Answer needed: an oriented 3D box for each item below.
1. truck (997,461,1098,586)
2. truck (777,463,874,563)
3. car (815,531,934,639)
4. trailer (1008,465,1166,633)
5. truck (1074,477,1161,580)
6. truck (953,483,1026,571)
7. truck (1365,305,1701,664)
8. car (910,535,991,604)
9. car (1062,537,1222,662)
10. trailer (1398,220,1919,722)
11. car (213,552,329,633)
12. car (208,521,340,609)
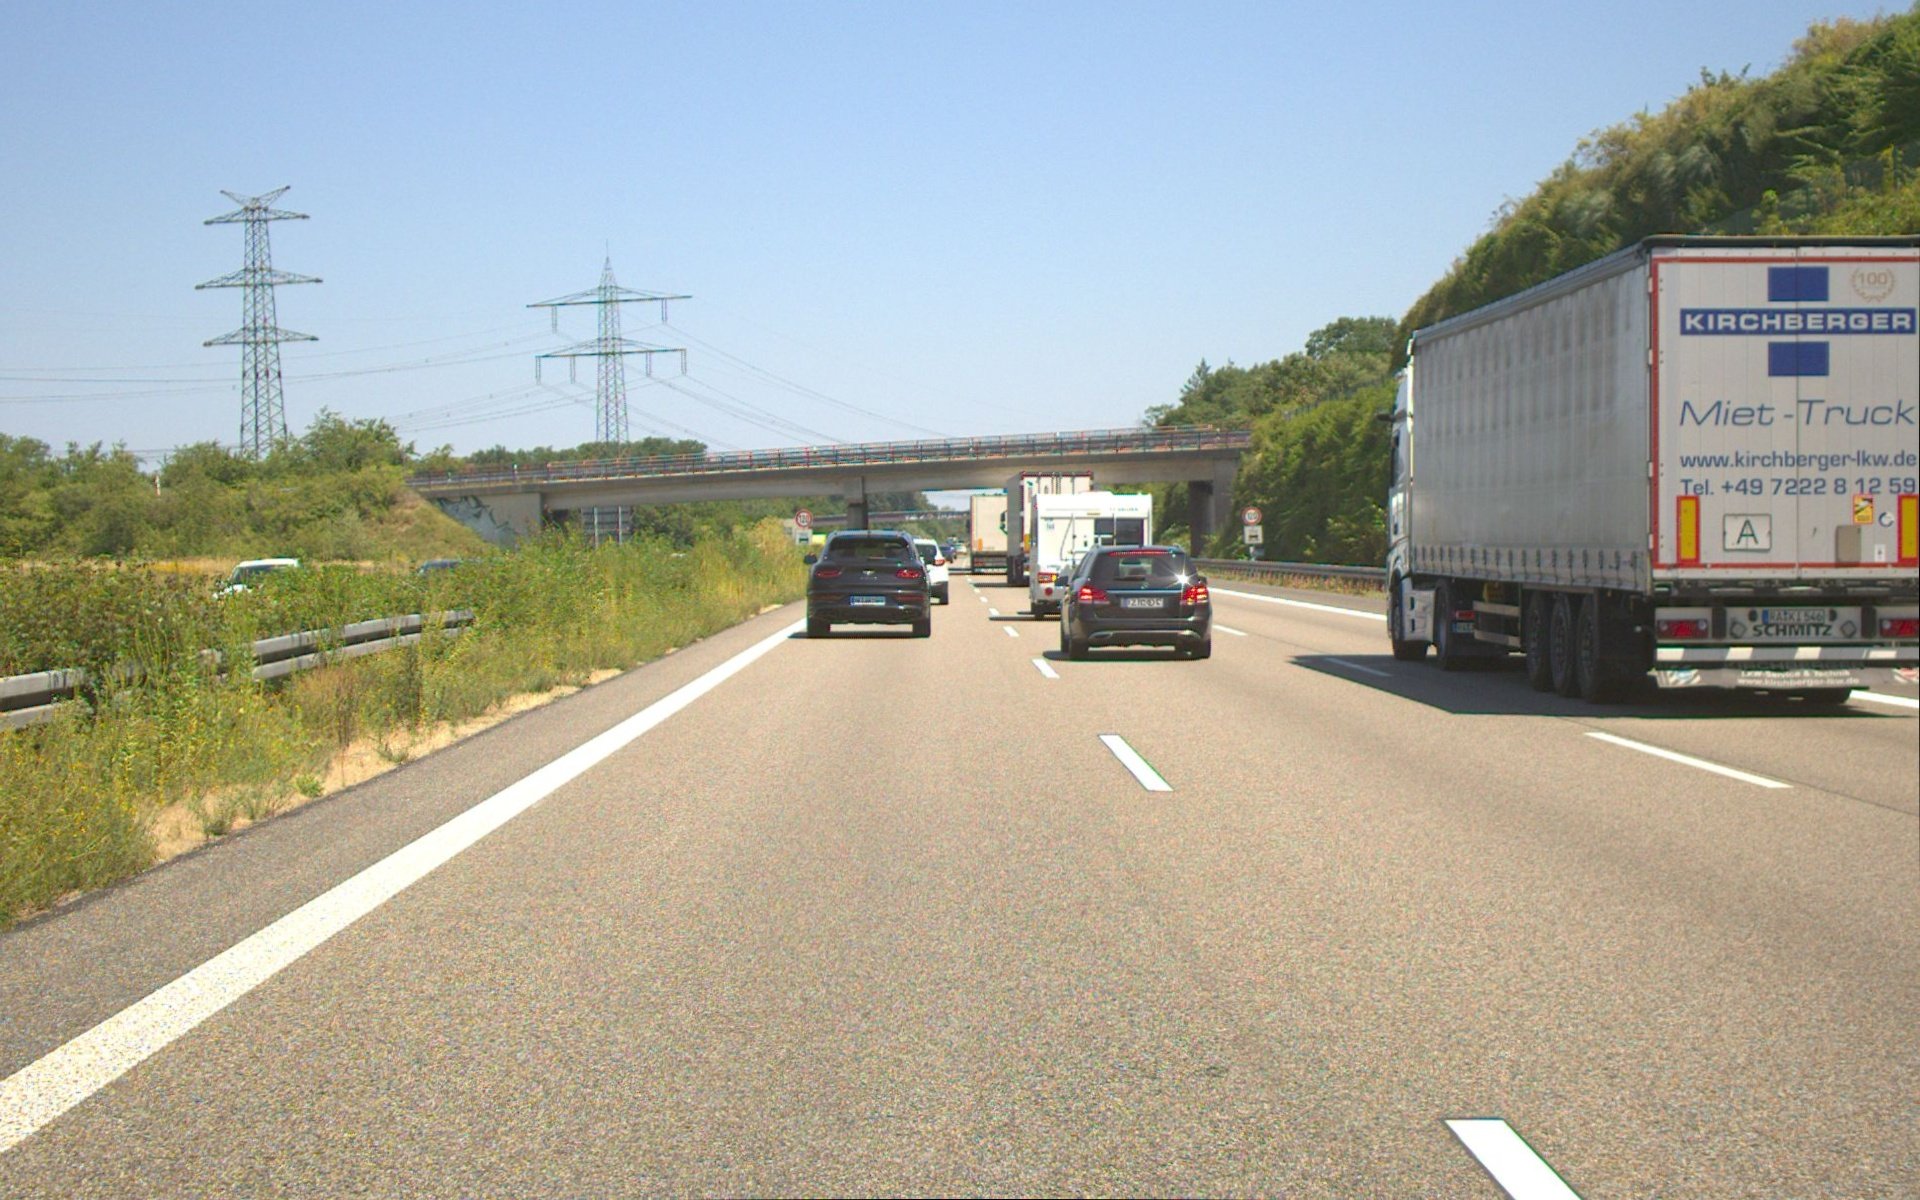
[{"bbox_3d":[3.113,-2.777,125.418,3.119,4.265,11.934,-1,1,-1],"label":"truck"},{"bbox_3d":[-5.761,-3.728,148.817,3.961,4.099,9.954,-1,1,-1],"label":"truck"},{"bbox_3d":[-1.391,-0.273,56.030,1.830,1.665,4.000,-1,1,-1],"label":"car"},{"bbox_3d":[2.527,-1.085,71.537,2.610,3.202,9.954,-1,1,-1],"label":"trailer"},{"bbox_3d":[6.829,-3.130,150.675,3.119,4.265,10.168,-1,1,-1],"label":"truck"},{"bbox_3d":[1.446,-3.714,174.510,3.409,4.265,10.608,-1,1,-1],"label":"truck"},{"bbox_3d":[7.028,-1.398,42.948,3.135,4.127,5.504,-1,1,-1],"label":"truck"},{"bbox_3d":[-0.254,-0.788,87.061,1.829,1.665,4.001,-1,1,-3],"label":"car"},{"bbox_3d":[2.343,-0.041,45.118,1.830,1.520,4.000,-1,1,0],"label":"car"},{"bbox_3d":[7.074,-1.200,35.211,3.183,4.107,13.432,-1,1,-1],"label":"trailer"},{"bbox_3d":[-14.862,-0.188,74.317,1.612,1.645,3.922,-1,1,1],"label":"car"},{"bbox_3d":[-15.117,-0.792,75.990,1.993,1.839,5.118,-1,1,-2],"label":"car"}]
